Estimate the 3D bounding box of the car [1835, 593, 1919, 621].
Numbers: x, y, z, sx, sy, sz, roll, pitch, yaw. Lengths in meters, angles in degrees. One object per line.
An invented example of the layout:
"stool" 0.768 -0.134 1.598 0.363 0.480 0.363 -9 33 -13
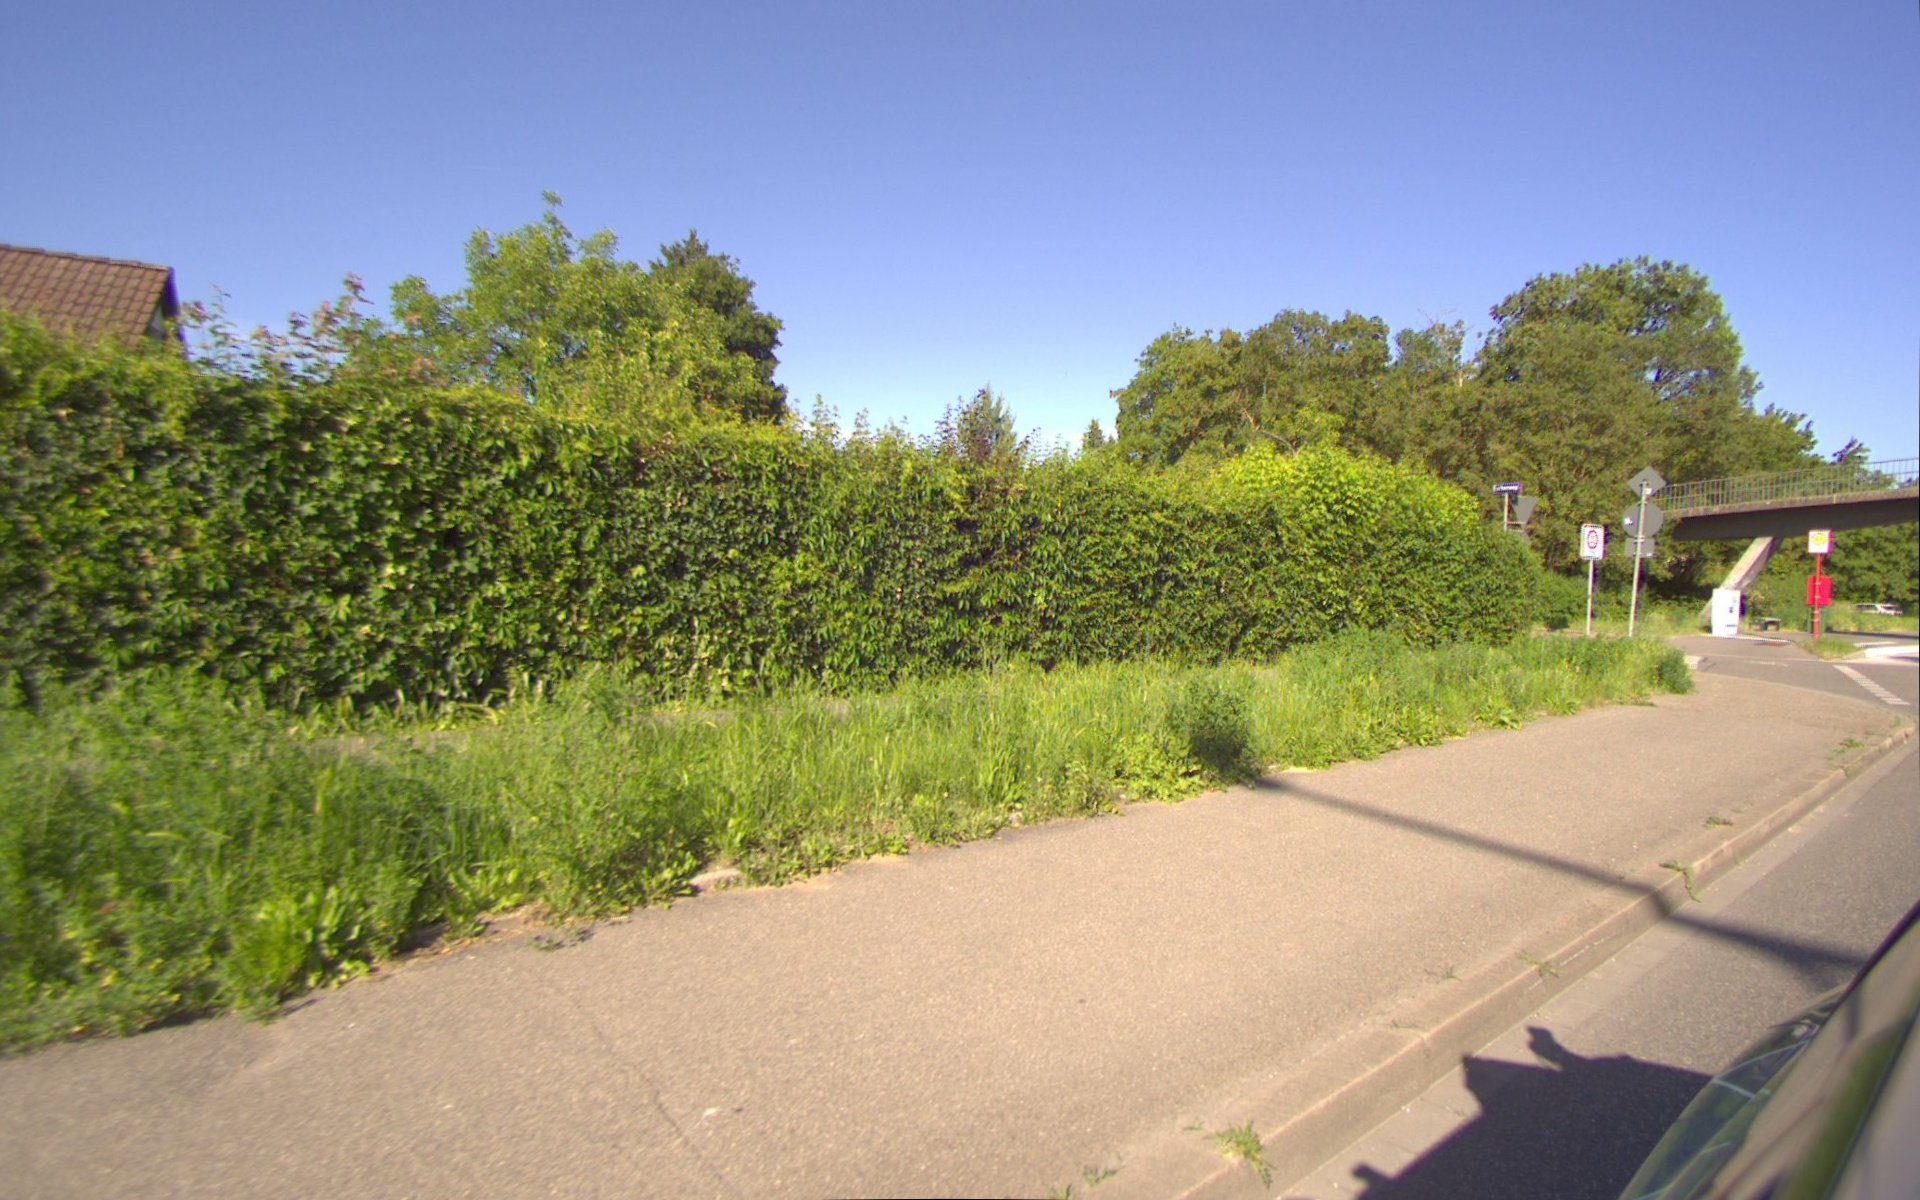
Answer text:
"car" 69.981 0.530 77.145 2.029 1.892 4.539 3 0 -29
